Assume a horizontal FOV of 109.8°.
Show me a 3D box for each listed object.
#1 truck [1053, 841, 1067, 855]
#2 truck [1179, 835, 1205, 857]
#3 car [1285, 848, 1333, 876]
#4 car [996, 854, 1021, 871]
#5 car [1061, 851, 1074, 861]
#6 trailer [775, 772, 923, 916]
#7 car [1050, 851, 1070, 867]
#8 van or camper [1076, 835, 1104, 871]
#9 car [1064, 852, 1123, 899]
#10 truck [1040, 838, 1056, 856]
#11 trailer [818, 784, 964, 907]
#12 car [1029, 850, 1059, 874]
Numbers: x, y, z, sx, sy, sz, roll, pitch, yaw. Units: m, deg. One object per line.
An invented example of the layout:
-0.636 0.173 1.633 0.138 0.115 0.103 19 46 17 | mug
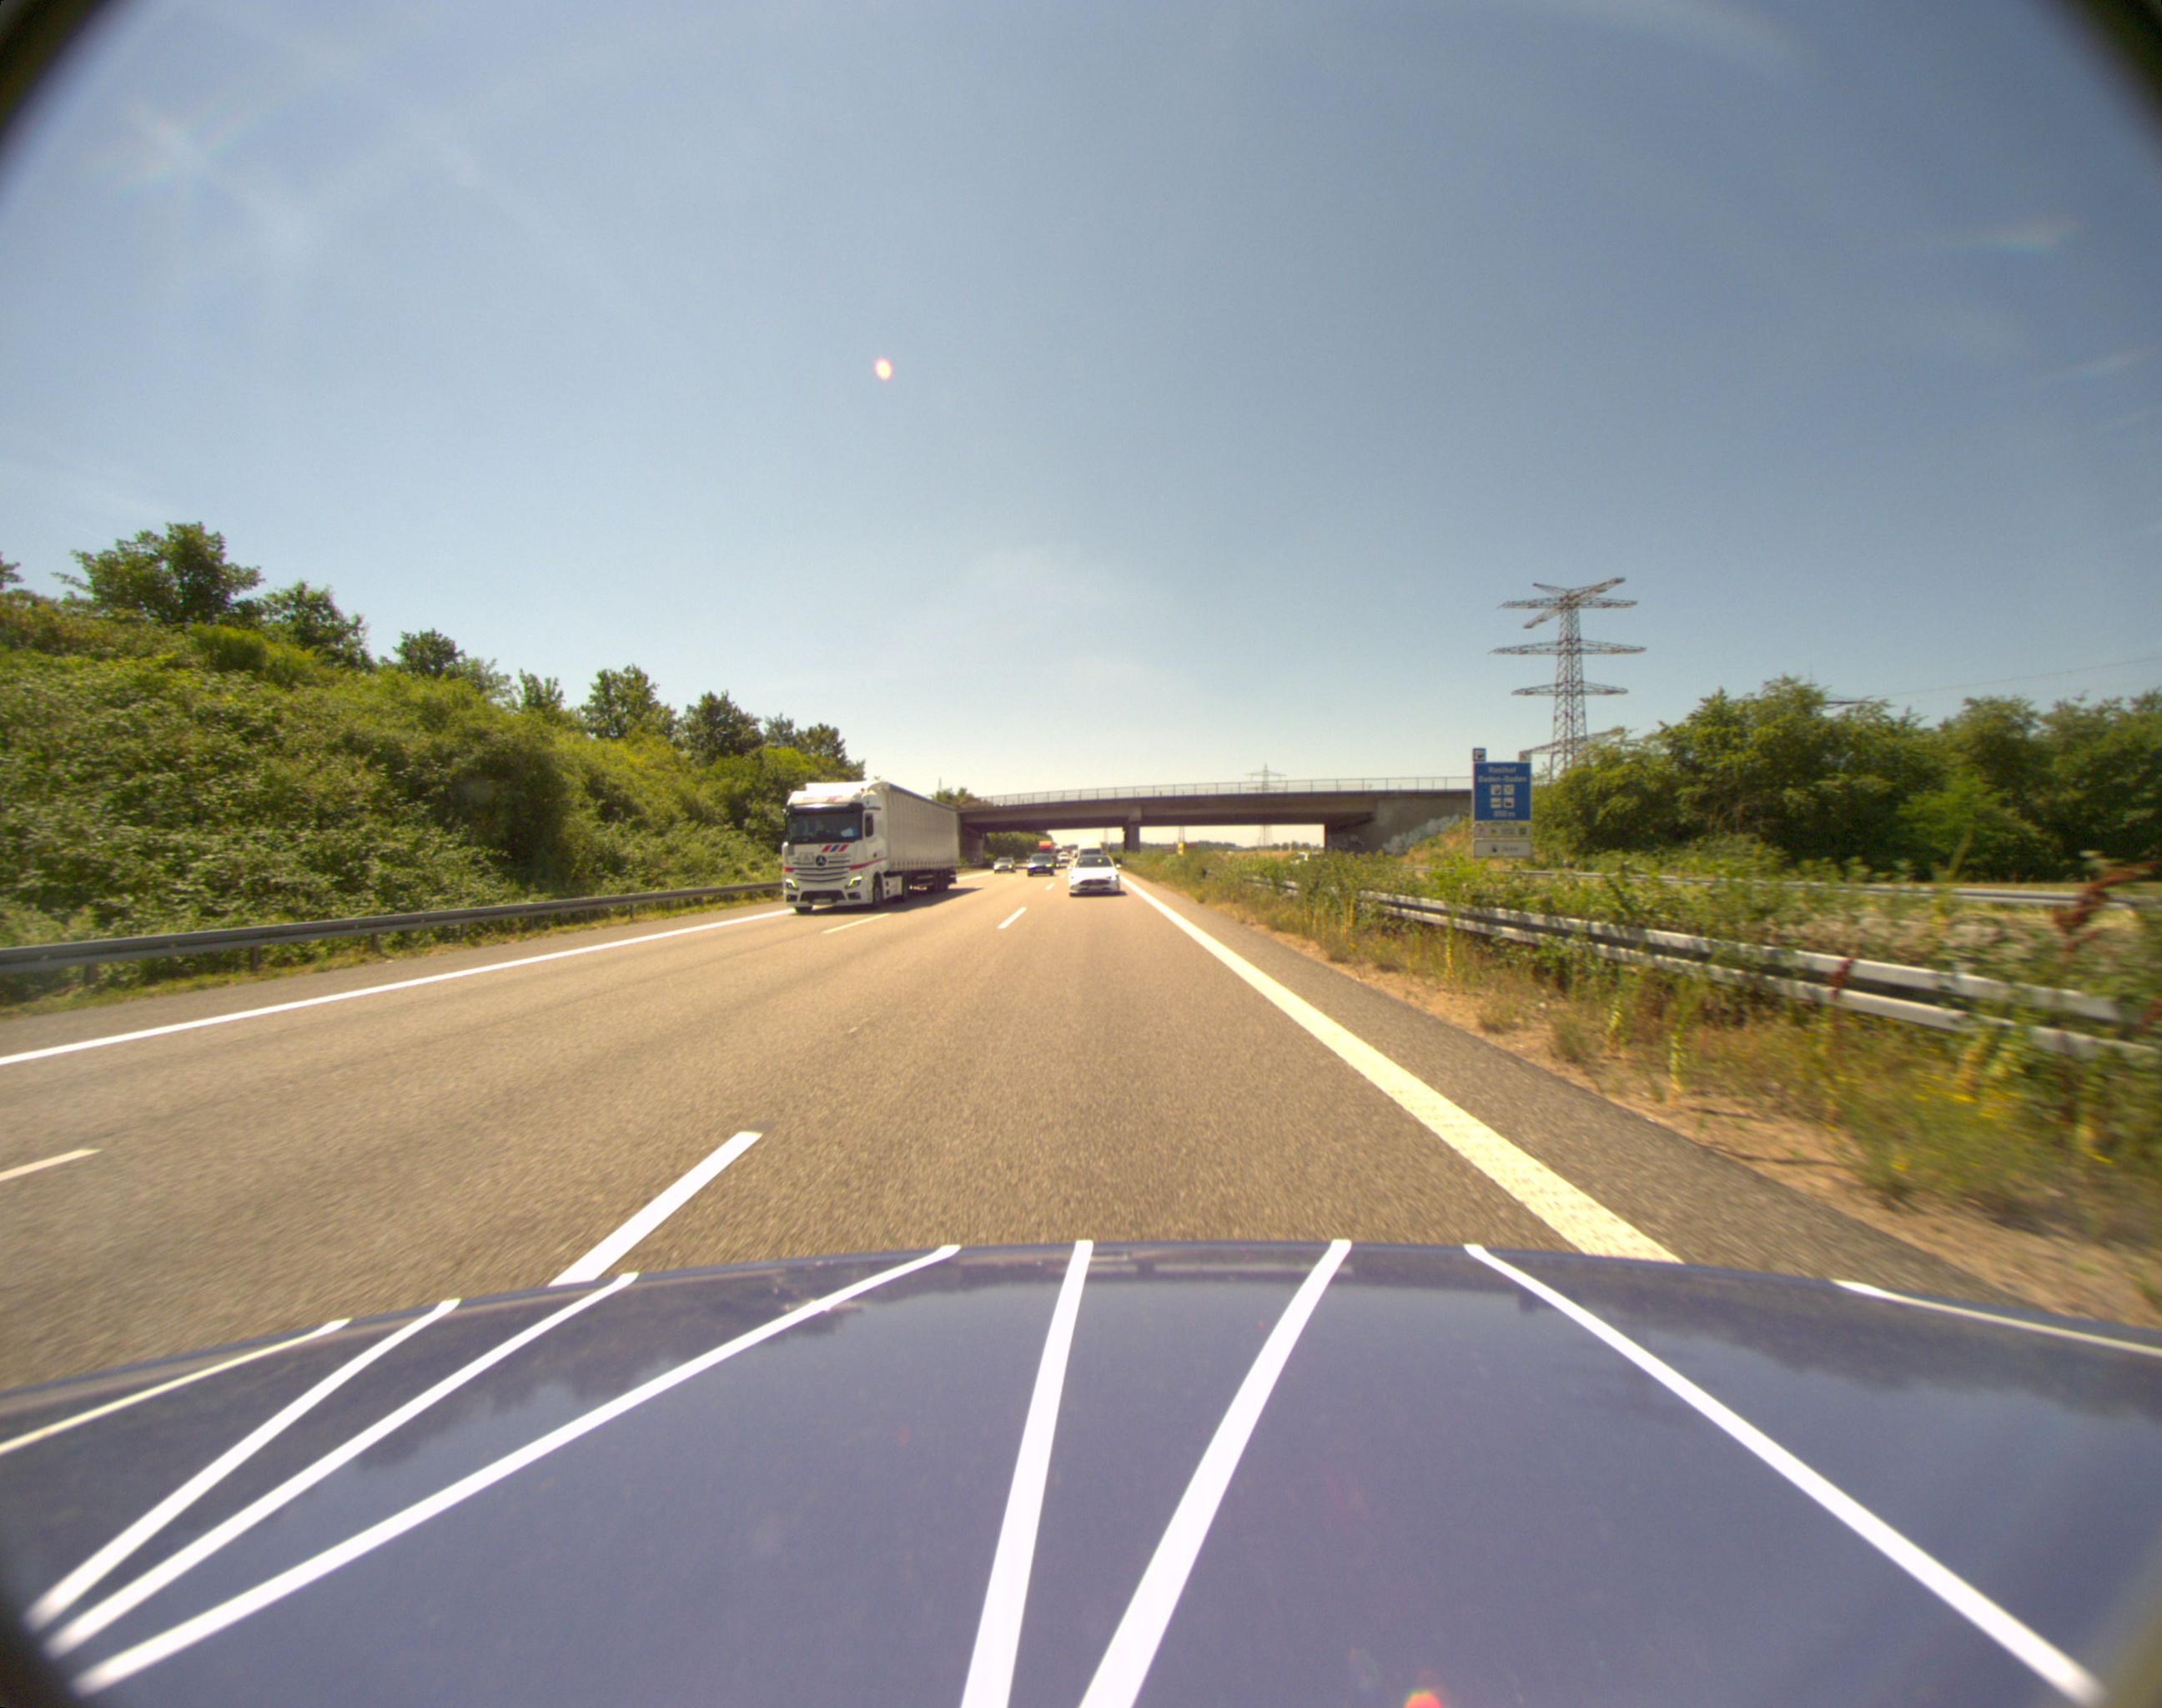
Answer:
-5.776 -1.742 209.872 3.507 3.891 9.646 -1 1 -1 | truck
20.174 -1.412 138.164 3.520 3.840 8.661 -2 0 1 | truck
14.528 0.500 48.684 1.846 1.642 4.013 -2 0 0 | car
-6.725 0.771 70.788 1.840 1.403 4.558 -2 0 0 | car
-2.173 0.366 124.590 1.984 1.525 4.137 -1 0 0 | car
-7.390 -0.300 25.312 2.720 4.079 6.788 -1 1 0 | trailer
-2.212 0.497 80.966 1.984 1.671 4.558 0 1 0 | car
0.784 -0.115 62.024 1.998 2.740 5.410 -2 0 2 | van or camper
0.437 0.737 28.588 1.984 1.525 4.558 -3 0 0 | car
-6.149 -1.369 143.312 2.581 3.204 5.712 -3 1 0 | truck
-7.366 -0.331 32.046 2.735 4.079 13.187 -1 0 0 | trailer
-2.735 0.571 56.849 1.984 1.671 4.558 -1 0 0 | car
